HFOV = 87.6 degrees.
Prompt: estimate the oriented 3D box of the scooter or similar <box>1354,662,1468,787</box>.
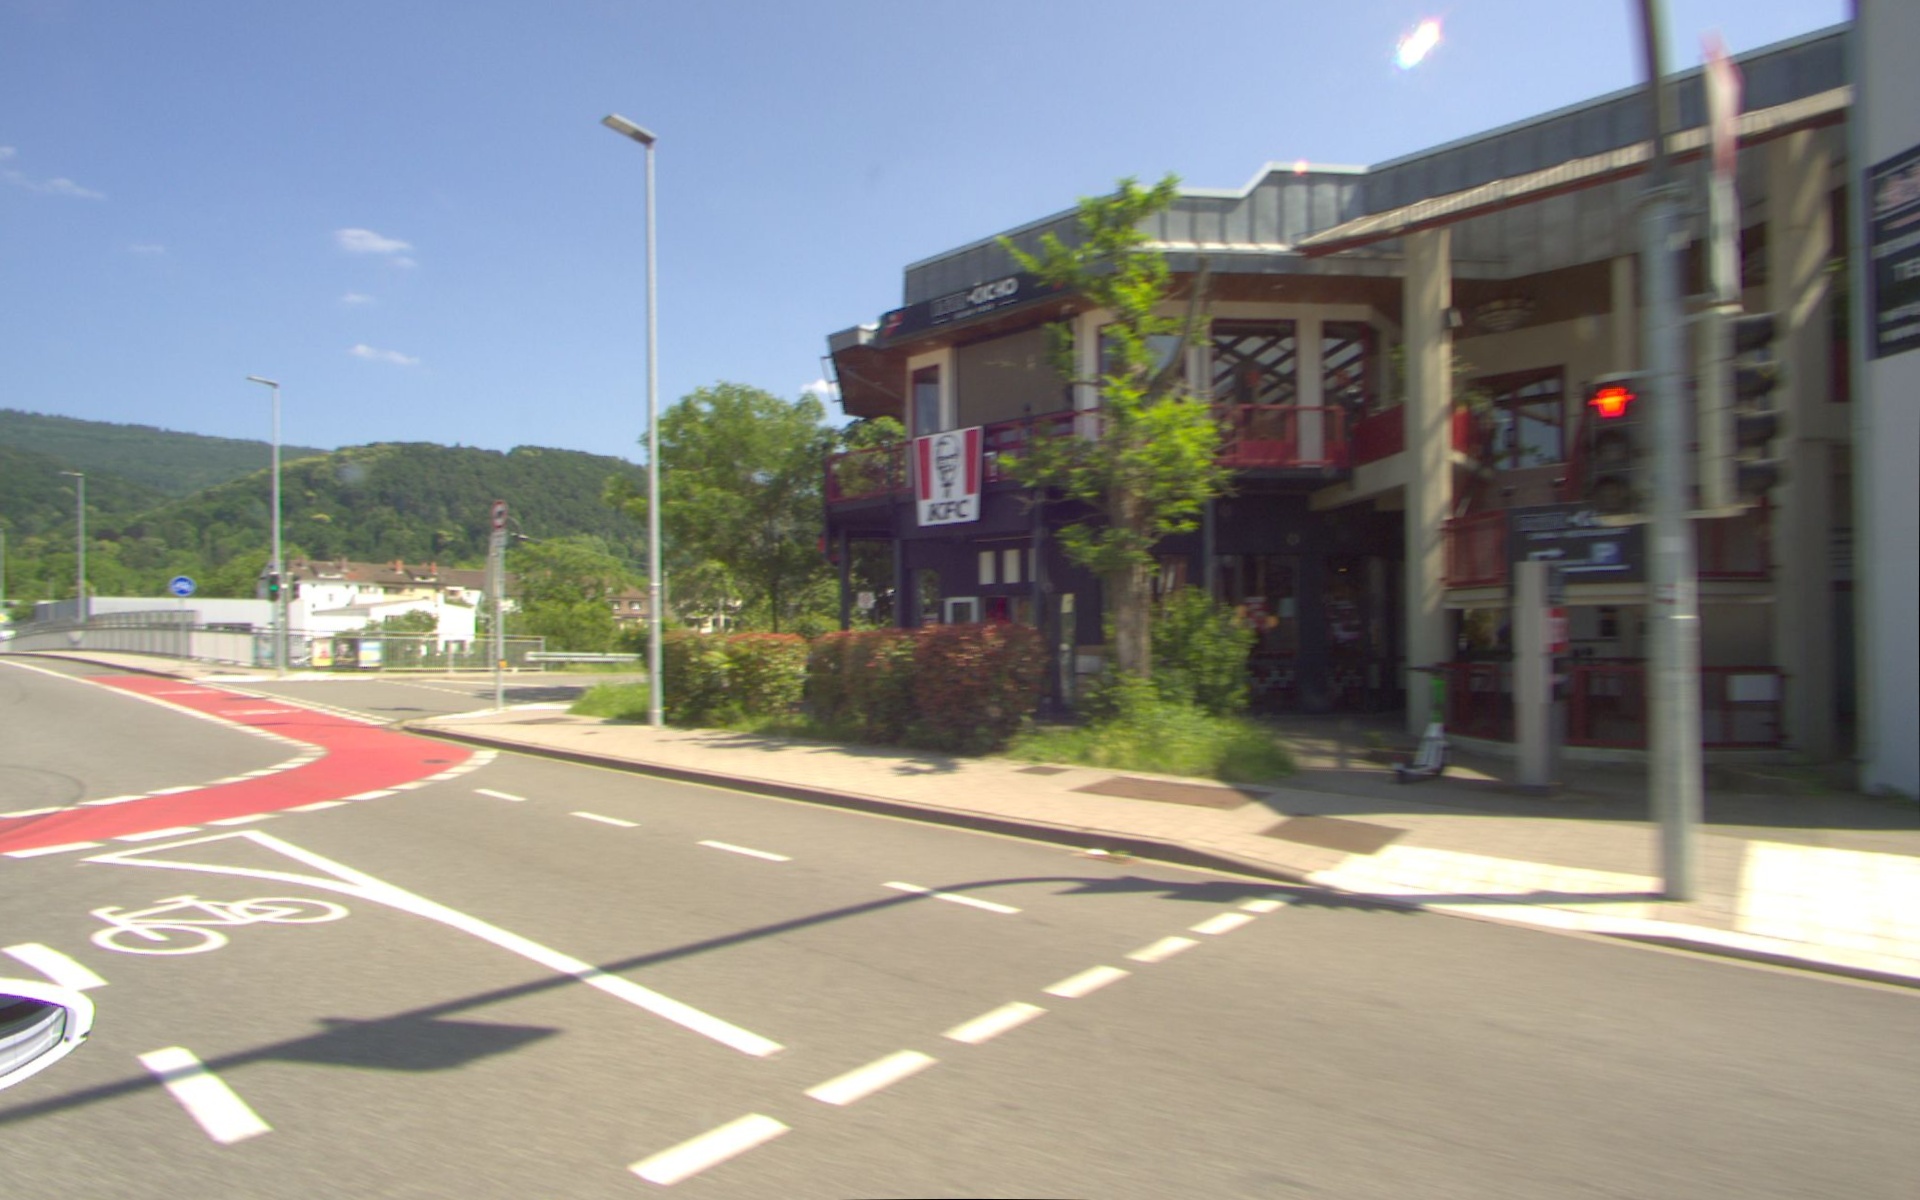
[{"bbox_3d":[4.577,1.217,10.122,1.488,1.138,0.496,1,-1,-42],"label":"scooter or similar"}]
